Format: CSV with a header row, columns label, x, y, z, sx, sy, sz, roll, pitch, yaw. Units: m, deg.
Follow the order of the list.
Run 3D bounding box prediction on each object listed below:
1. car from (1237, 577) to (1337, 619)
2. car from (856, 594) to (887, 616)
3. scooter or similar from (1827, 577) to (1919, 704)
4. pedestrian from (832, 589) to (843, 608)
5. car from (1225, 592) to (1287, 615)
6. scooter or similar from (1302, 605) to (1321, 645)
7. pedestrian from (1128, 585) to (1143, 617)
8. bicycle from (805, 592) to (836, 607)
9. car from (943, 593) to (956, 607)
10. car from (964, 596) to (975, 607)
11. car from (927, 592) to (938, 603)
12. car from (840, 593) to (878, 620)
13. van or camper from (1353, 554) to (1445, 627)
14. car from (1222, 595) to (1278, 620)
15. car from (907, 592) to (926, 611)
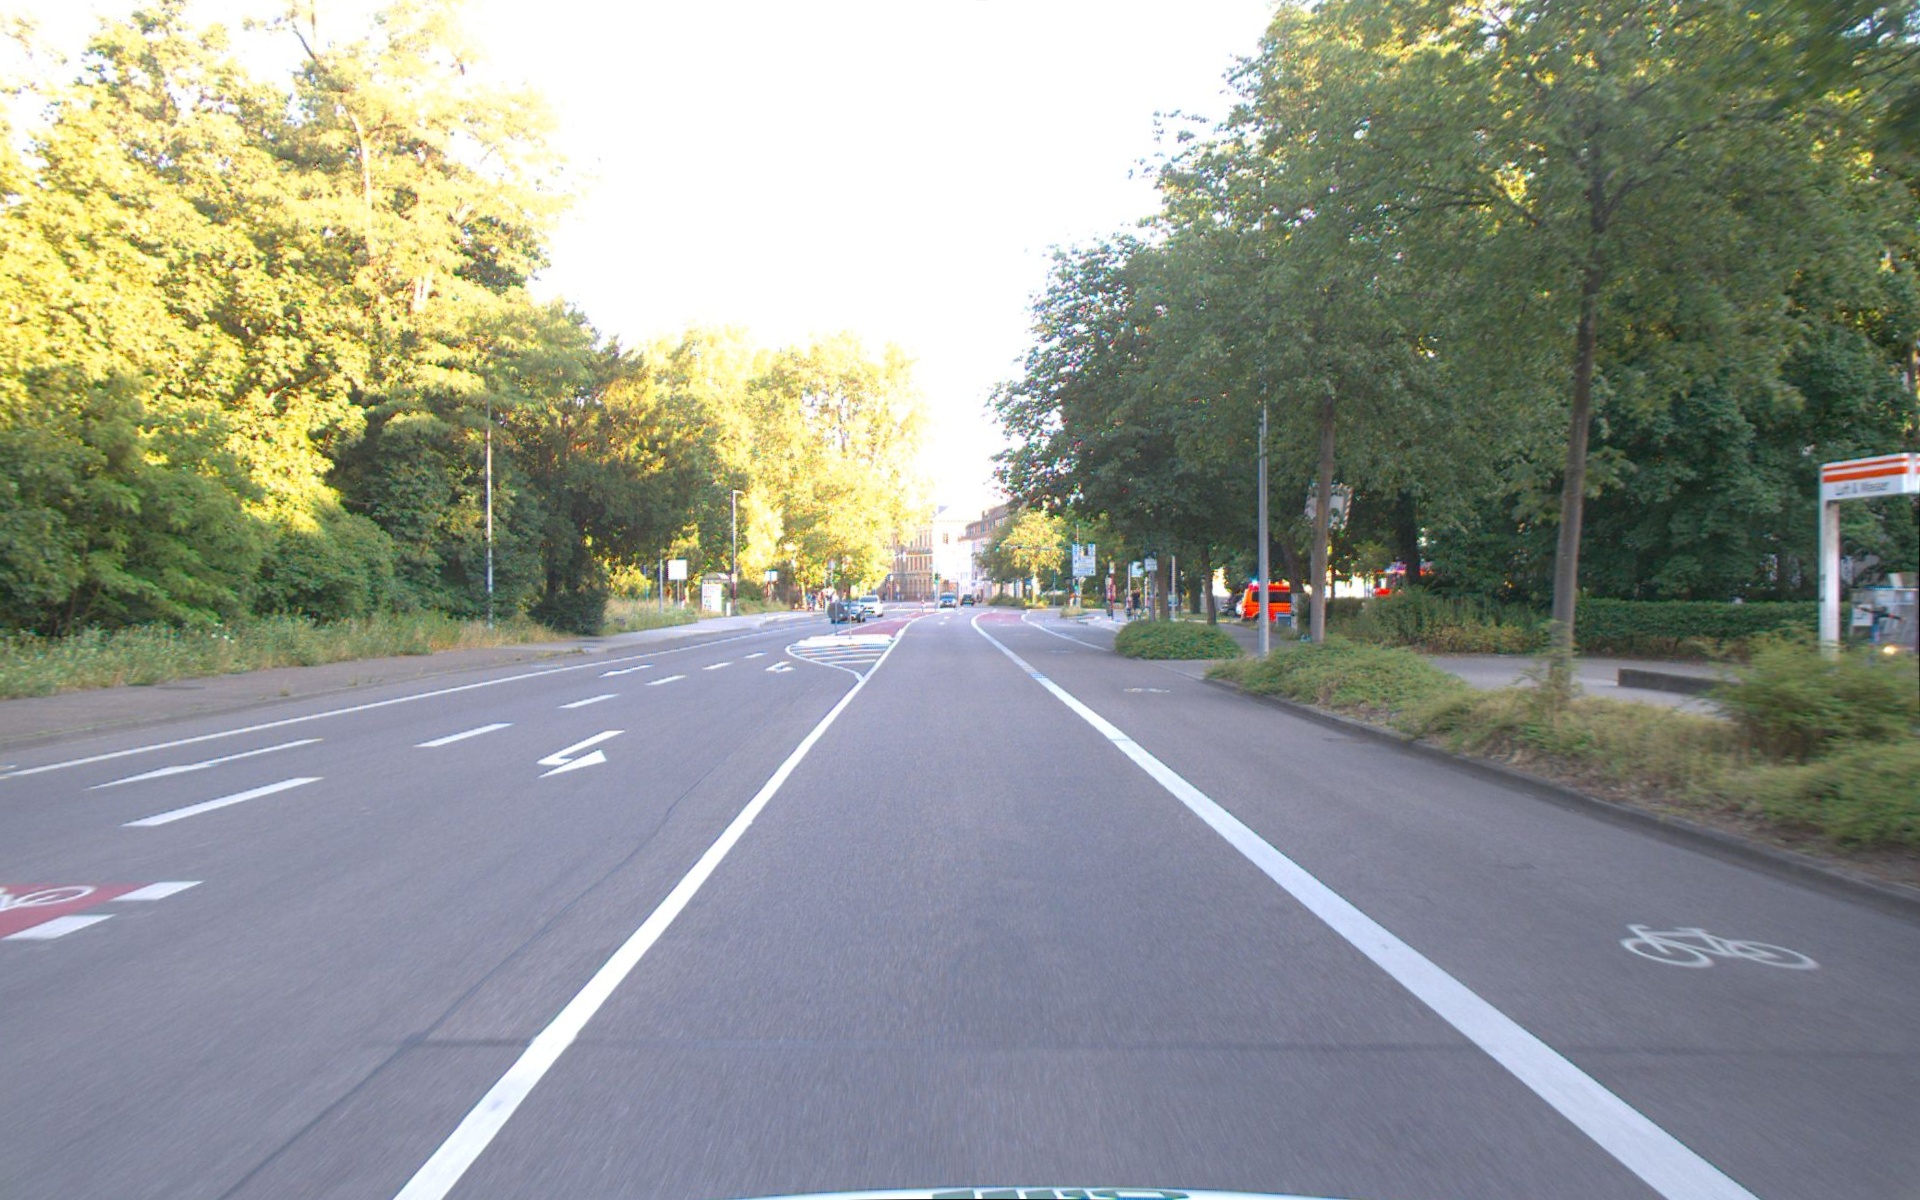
label,x,y,z,sx,sy,sz,roll,pitch,yaw
car,16.412,-0.096,83.197,4.806,2.024,1.923,0,0,7
car,-6.046,0.315,112.862,1.760,1.478,4.128,0,0,2
scooter or similar,10.002,0.412,17.766,0.585,1.304,1.468,-1,0,0
pedestrian,-10.610,-0.142,143.771,0.774,1.608,0.746,1,0,8
car,21.596,0.264,120.871,4.364,1.618,1.717,0,0,7
scooter or similar,9.573,0.672,45.037,0.304,1.060,0.980,-1,0,0
pedestrian,9.677,0.036,91.164,0.754,1.770,0.731,0,0,0
bicycle,-11.538,-0.047,137.062,2.410,1.216,0.757,0,0,9
car,-1.182,0.002,183.227,1.462,1.512,3.490,0,0,0
car,1.234,0.192,220.346,1.462,1.512,3.490,0,0,0
car,-3.988,-0.350,238.585,1.462,1.512,3.490,0,0,0
car,-5.716,0.376,94.089,1.760,1.478,4.128,0,0,2
van or camper,21.105,-0.454,79.925,3.364,3.255,8.238,2,0,9
car,19.745,0.511,112.654,3.693,1.618,1.717,0,0,7
car,-3.600,0.097,138.176,1.462,1.512,3.490,0,0,0
